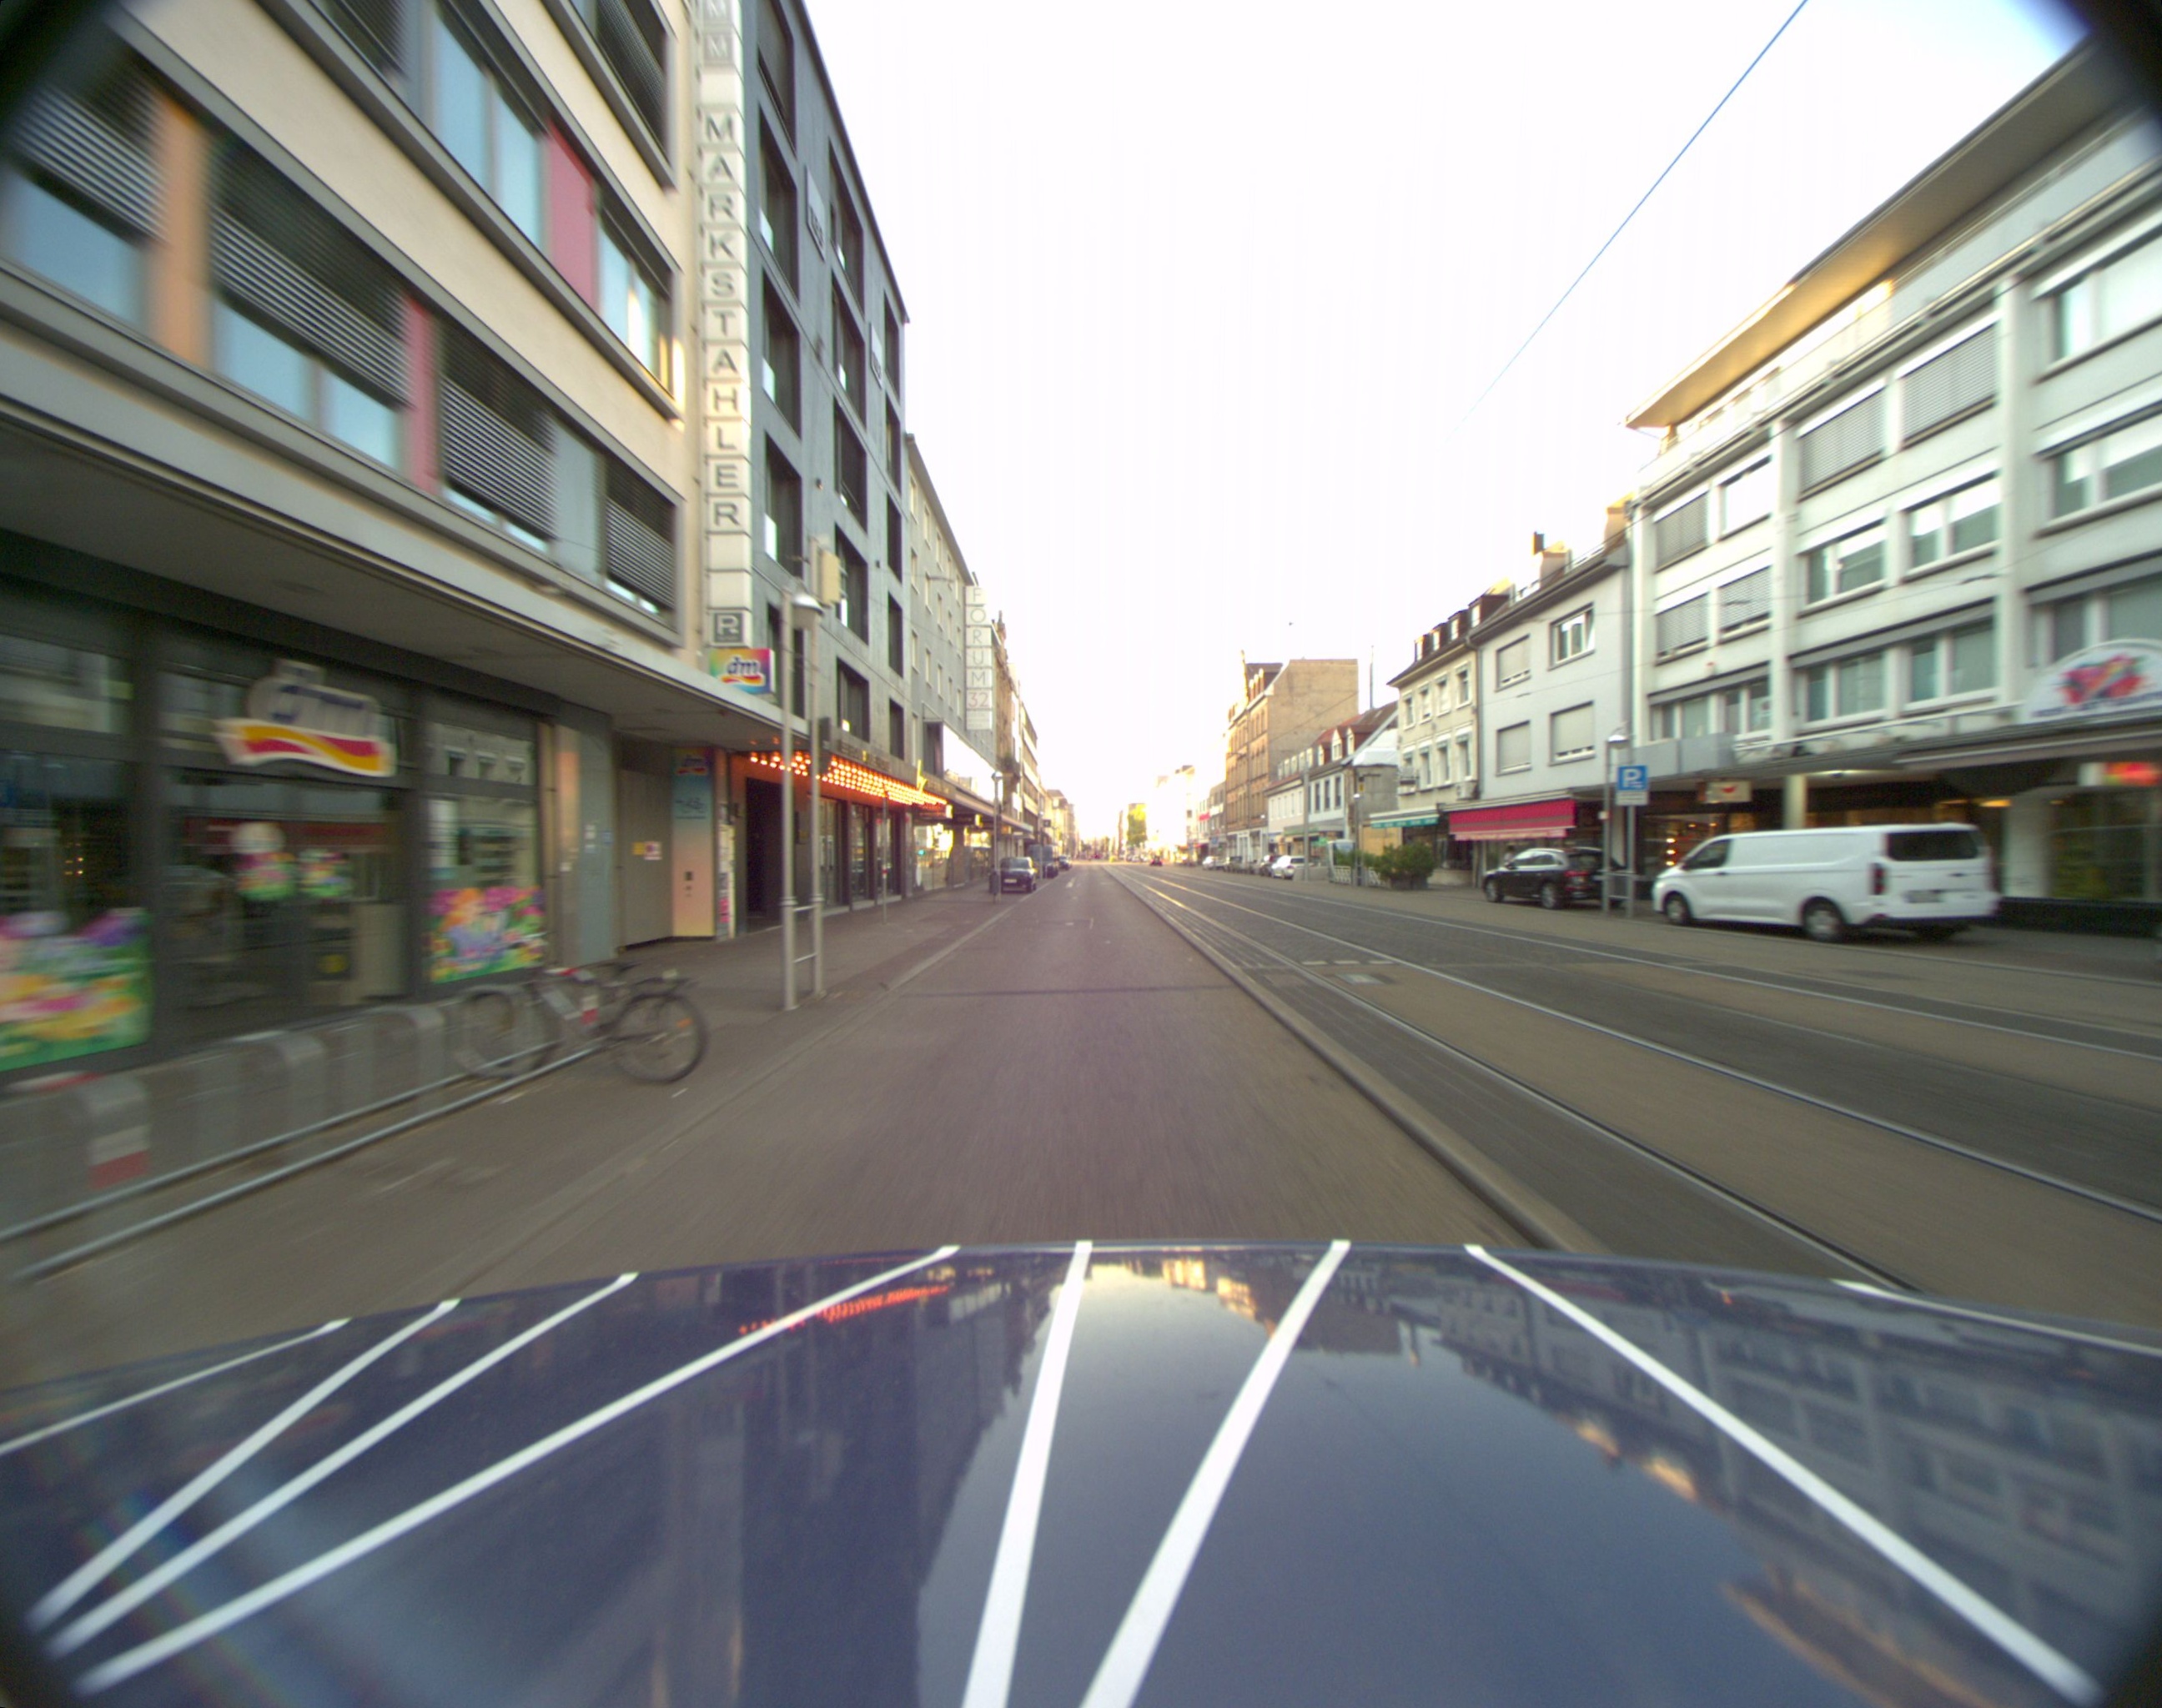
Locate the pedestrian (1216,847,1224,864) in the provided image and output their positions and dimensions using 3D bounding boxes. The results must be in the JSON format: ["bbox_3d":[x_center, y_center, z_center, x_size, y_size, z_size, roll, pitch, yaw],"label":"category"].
[{"bbox_3d":[16.632,0.221,91.162,0.748,2.002,1.049,-2,1,5],"label":"pedestrian"}]

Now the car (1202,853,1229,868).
[{"bbox_3d":[14.367,0.674,81.506,1.999,1.412,4.402,-2,1,-1],"label":"car"}]

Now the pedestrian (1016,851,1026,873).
[{"bbox_3d":[-4.950,0.643,62.507,0.743,1.746,0.789,2,1,-3],"label":"pedestrian"}]

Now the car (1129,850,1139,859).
[{"bbox_3d":[11.926,0.075,170.347,1.998,1.830,3.999,-2,1,0],"label":"car"}]

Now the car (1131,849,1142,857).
[{"bbox_3d":[11.354,-0.189,155.722,1.998,1.434,3.999,-2,1,0],"label":"car"}]

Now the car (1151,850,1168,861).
[{"bbox_3d":[11.435,0.179,111.394,1.998,1.554,3.999,-2,1,0],"label":"car"}]

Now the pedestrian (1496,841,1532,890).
[{"bbox_3d":[16.090,0.419,28.251,0.819,1.772,0.818,-2,1,1],"label":"pedestrian"}]

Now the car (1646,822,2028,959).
[{"bbox_3d":[13.377,0.524,14.082,1.969,2.002,5.099,-2,1,0],"label":"car"}]

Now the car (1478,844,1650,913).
[{"bbox_3d":[13.591,0.614,21.778,1.998,1.687,4.588,-2,1,1],"label":"car"}]

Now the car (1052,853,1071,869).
[{"bbox_3d":[-2.126,0.772,85.158,1.998,1.663,3.876,-2,1,0],"label":"car"}]

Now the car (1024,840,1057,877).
[{"bbox_3d":[-2.911,0.295,55.805,2.080,2.434,5.603,-2,0,-1],"label":"car"}]

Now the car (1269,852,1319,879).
[{"bbox_3d":[13.582,0.703,48.724,1.896,1.547,4.622,-2,1,1],"label":"car"}]

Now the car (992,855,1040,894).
[{"bbox_3d":[-2.818,0.844,33.559,1.744,1.532,3.965,-1,1,0],"label":"car"}]

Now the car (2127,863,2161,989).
[{"bbox_3d":[13.239,0.819,6.660,1.876,1.418,4.570,-2,1,1],"label":"car"}]

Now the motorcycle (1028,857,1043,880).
[{"bbox_3d":[-2.927,0.906,48.972,0.785,1.396,2.637,1,0,0],"label":"motorcycle"}]

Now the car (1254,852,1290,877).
[{"bbox_3d":[13.448,0.711,53.749,1.660,1.561,3.470,-2,1,1],"label":"car"}]

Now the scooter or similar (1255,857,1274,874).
[{"bbox_3d":[13.700,0.844,56.718,1.365,1.161,0.311,-2,1,3],"label":"scooter or similar"}]

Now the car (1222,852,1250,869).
[{"bbox_3d":[14.093,0.571,69.276,1.846,1.484,3.816,-2,1,1],"label":"car"}]

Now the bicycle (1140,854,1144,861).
[{"bbox_3d":[10.436,0.616,130.367,0.493,1.183,2.265,-2,1,0],"label":"bicycle"}]

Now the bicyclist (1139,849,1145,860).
[{"bbox_3d":[10.383,0.136,130.214,0.882,1.795,0.900,-2,1,2],"label":"bicyclist"}]

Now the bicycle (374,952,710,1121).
[{"bbox_3d":[-3.547,1.197,5.097,1.799,0.967,0.575,1,1,-2],"label":"bicycle"}]

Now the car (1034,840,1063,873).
[{"bbox_3d":[-2.631,0.156,62.657,1.998,2.559,5.604,-2,1,1],"label":"car"}]

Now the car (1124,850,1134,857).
[{"bbox_3d":[11.820,-0.159,187.276,1.998,1.685,3.999,-2,1,0],"label":"car"}]
